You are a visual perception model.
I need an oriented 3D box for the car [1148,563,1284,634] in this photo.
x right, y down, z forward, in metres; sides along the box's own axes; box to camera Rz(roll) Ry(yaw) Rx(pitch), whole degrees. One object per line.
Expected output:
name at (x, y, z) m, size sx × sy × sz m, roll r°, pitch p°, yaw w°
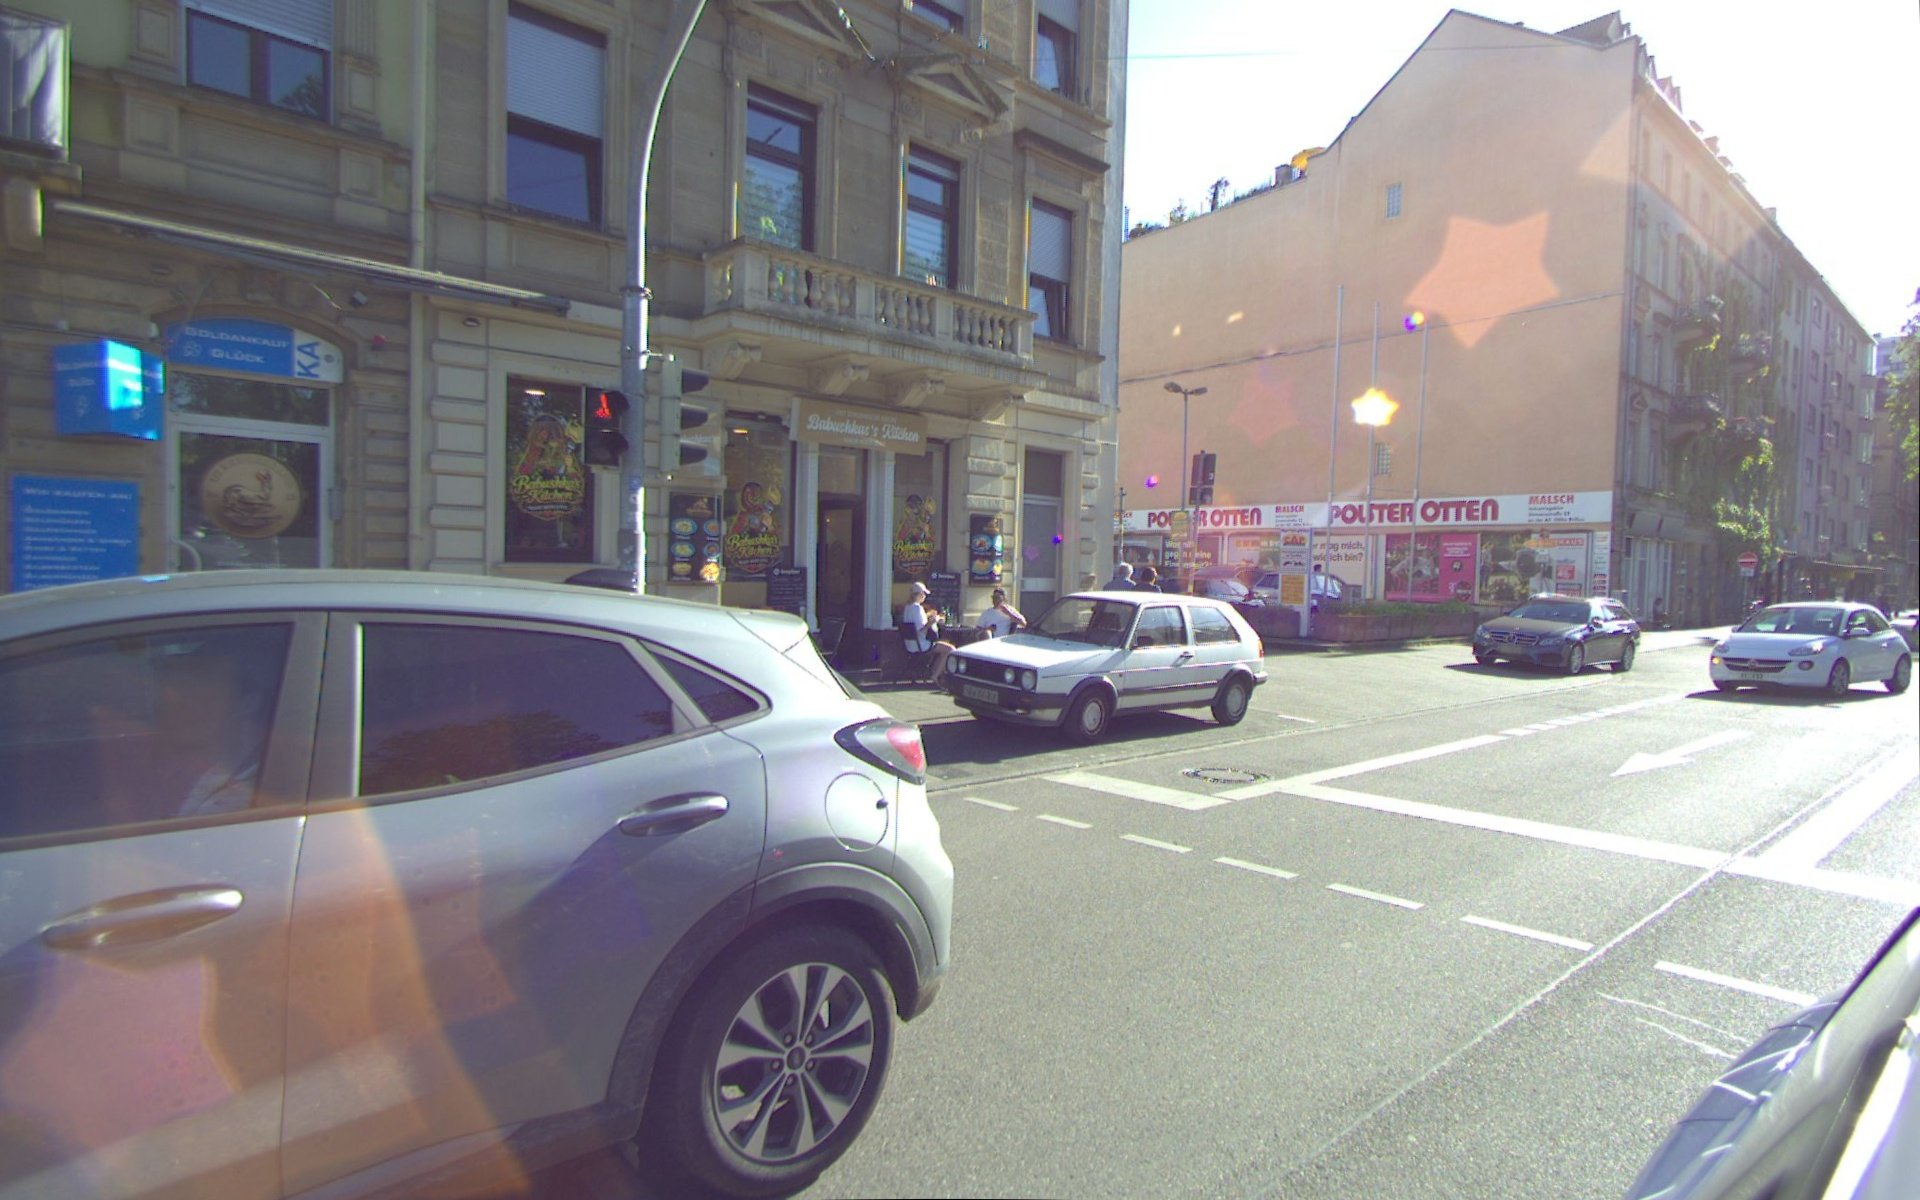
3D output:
car at (6.100, -0.050, 23.954) m, size 3.339 × 1.504 × 1.560 m, roll 0°, pitch 3°, yaw -44°

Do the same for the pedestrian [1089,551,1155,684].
pedestrian at (2.318, 0.230, 14.537) m, size 0.521 × 1.828 × 0.674 m, roll 0°, pitch 4°, yaw -40°

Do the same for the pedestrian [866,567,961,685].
pedestrian at (-0.602, 0.307, 13.027) m, size 0.645 × 1.388 × 1.015 m, roll 0°, pitch 5°, yaw -45°

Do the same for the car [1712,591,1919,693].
car at (14.406, 0.619, 16.778) m, size 3.704 × 1.472 × 1.611 m, roll -1°, pitch 1°, yaw -27°

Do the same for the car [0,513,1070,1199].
car at (-1.855, 0.627, 2.223) m, size 4.304 × 1.547 × 1.701 m, roll 0°, pitch 1°, yaw -41°

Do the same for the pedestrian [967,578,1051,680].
pedestrian at (0.665, 0.375, 13.847) m, size 0.645 × 1.297 × 0.902 m, roll 0°, pitch 4°, yaw -45°

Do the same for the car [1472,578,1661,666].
car at (12.630, 0.388, 20.957) m, size 4.649 × 1.504 × 1.838 m, roll 0°, pitch 5°, yaw -40°

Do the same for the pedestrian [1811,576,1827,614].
pedestrian at (42.607, -0.269, 50.197) m, size 0.507 × 1.856 × 0.469 m, roll 0°, pitch 2°, yaw -40°

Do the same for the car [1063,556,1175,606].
car at (5.312, -0.636, 33.535) m, size 3.870 × 1.563 × 1.545 m, roll 0°, pitch 3°, yaw -42°

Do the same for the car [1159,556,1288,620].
car at (7.649, -0.381, 29.228) m, size 3.933 × 1.714 × 1.747 m, roll -1°, pitch 3°, yaw -43°

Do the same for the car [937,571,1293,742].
car at (1.792, 0.488, 10.983) m, size 3.933 × 1.432 × 1.567 m, roll 0°, pitch 5°, yaw -40°

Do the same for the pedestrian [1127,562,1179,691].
pedestrian at (2.651, 0.349, 13.938) m, size 0.381 × 1.729 × 0.551 m, roll 0°, pitch 2°, yaw -37°

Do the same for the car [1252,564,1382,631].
car at (9.811, -0.102, 27.678) m, size 3.934 × 1.665 × 1.746 m, roll -1°, pitch 3°, yaw -44°

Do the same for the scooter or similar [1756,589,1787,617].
scooter or similar at (36.561, 0.116, 45.620) m, size 0.631 × 1.188 × 1.719 m, roll 2°, pitch 2°, yaw 25°
